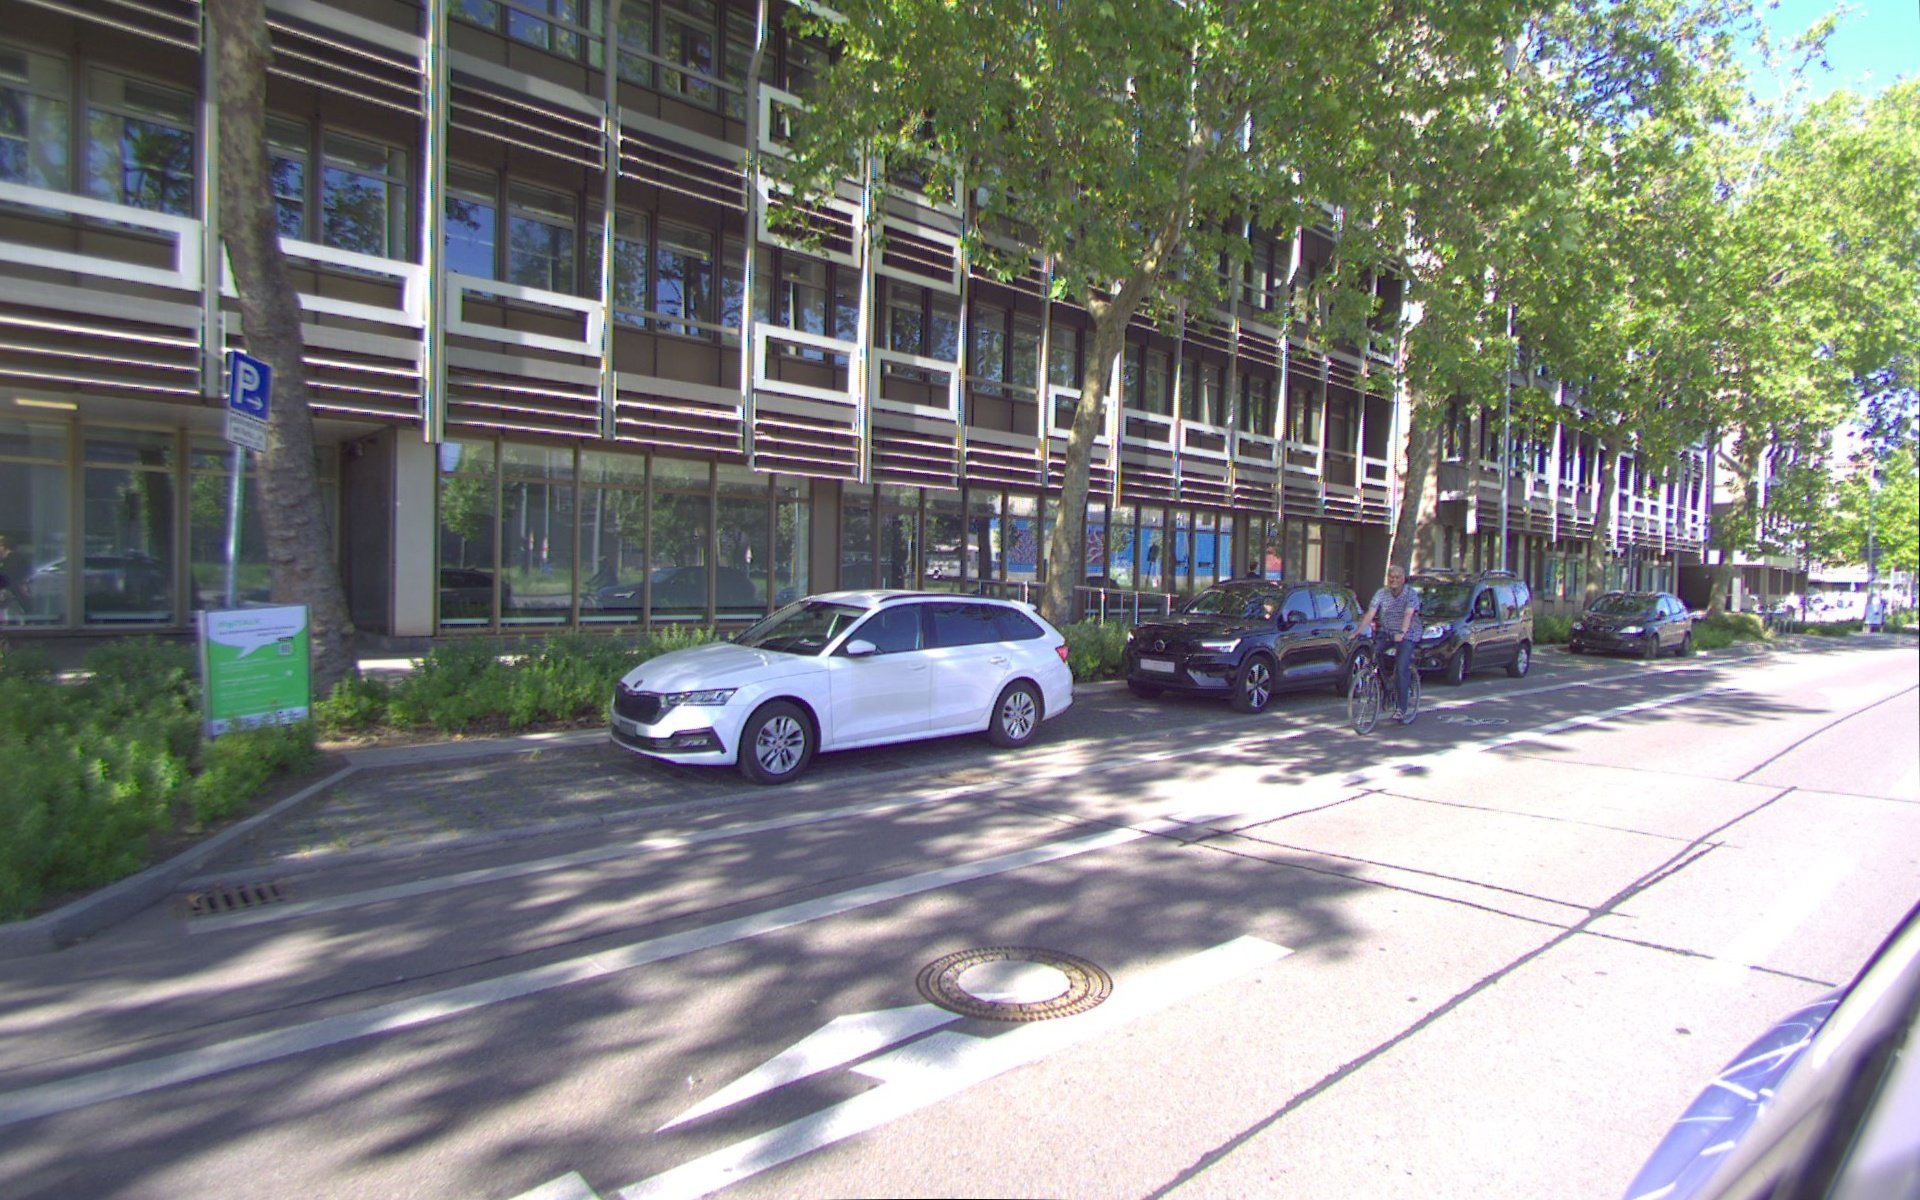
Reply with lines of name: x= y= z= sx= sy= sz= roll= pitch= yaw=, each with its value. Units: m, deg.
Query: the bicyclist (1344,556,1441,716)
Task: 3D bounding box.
bicyclist: x=4.850 y=0.389 z=11.346 sx=0.838 sy=1.709 sz=0.710 roll=1 pitch=-1 yaw=-42

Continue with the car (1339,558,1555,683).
car: x=8.400 y=0.287 z=17.280 sx=4.262 sy=1.843 sz=1.751 roll=0 pitch=3 yaw=-41

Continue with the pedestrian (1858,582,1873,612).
pedestrian: x=56.875 y=-0.193 z=63.560 sx=0.559 sy=1.863 sz=0.591 roll=1 pitch=1 yaw=-41

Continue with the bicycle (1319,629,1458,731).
bicycle: x=4.810 y=0.844 z=11.291 sx=1.891 sy=1.006 sz=0.710 roll=0 pitch=-1 yaw=-43

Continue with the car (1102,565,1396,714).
car: x=4.014 y=0.432 z=13.689 sx=4.262 sy=1.653 sz=1.751 roll=0 pitch=3 yaw=-41

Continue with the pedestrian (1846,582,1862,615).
pedestrian: x=51.427 y=-0.084 z=58.214 sx=0.559 sy=1.863 sz=0.591 roll=1 pitch=1 yaw=-41

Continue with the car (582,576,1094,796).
car: x=-0.923 y=0.599 z=9.359 sx=4.481 sy=1.508 sz=1.751 roll=0 pitch=3 yaw=-42

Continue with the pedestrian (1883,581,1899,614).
pedestrian: x=54.683 y=-0.151 z=59.434 sx=0.559 sy=1.863 sz=0.591 roll=1 pitch=1 yaw=-41

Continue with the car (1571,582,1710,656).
car: x=16.725 y=0.417 z=24.789 sx=4.262 sy=1.573 sz=1.751 roll=0 pitch=3 yaw=-41

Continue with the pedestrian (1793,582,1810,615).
pedestrian: x=47.131 y=-0.090 z=56.689 sx=0.685 sy=1.863 sz=0.591 roll=1 pitch=1 yaw=-42

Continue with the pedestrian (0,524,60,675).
pedestrian: x=-10.571 y=-0.019 z=11.123 sx=0.991 sy=1.620 sz=0.668 roll=0 pitch=3 yaw=-41

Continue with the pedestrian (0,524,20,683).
pedestrian: x=-10.218 y=0.021 z=10.447 sx=0.715 sy=1.620 sz=0.668 roll=0 pitch=3 yaw=-40

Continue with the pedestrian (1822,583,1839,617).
pedestrian: x=47.024 y=-0.003 z=54.674 sx=0.684 sy=1.863 sz=0.591 roll=1 pitch=1 yaw=-42

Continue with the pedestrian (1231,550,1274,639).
pedestrian: x=6.874 y=-0.134 z=23.795 sx=0.615 sy=2.039 sz=0.741 roll=1 pitch=1 yaw=-40
